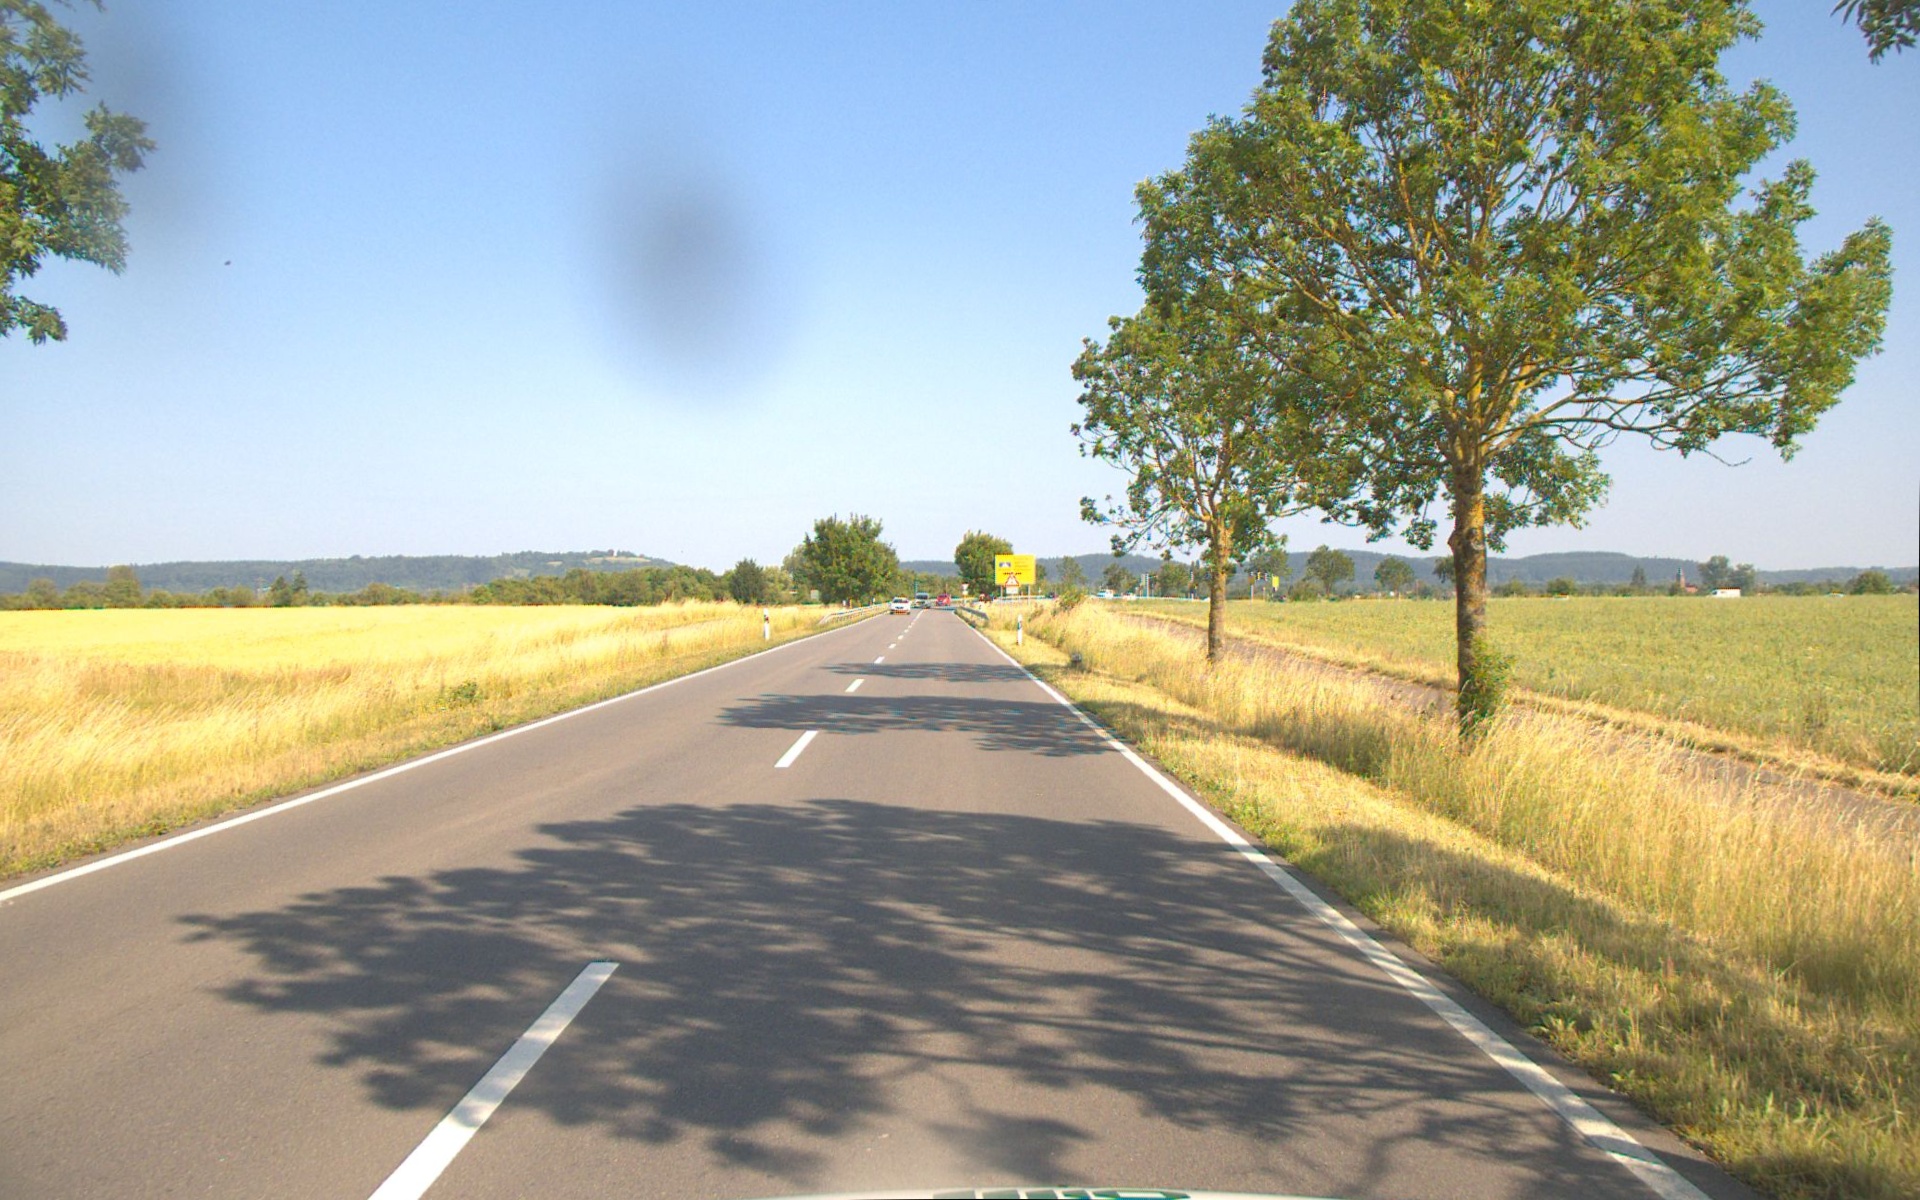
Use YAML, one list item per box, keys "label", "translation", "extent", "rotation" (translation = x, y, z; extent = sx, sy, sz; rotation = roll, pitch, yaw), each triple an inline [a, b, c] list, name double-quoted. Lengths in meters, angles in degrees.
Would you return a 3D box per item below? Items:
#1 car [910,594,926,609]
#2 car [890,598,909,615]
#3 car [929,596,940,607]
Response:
- label: "car"
  translation: [-5.102, 0.157, 201.841]
  extent: [1.799, 1.818, 4.434]
  rotation: [0, 0, 0]
- label: "car"
  translation: [-5.402, 0.582, 147.820]
  extent: [1.691, 1.462, 4.515]
  rotation: [0, 0, -1]
- label: "car"
  translation: [-3.460, 0.222, 223.929]
  extent: [1.574, 1.514, 3.779]
  rotation: [0, 0, -1]
